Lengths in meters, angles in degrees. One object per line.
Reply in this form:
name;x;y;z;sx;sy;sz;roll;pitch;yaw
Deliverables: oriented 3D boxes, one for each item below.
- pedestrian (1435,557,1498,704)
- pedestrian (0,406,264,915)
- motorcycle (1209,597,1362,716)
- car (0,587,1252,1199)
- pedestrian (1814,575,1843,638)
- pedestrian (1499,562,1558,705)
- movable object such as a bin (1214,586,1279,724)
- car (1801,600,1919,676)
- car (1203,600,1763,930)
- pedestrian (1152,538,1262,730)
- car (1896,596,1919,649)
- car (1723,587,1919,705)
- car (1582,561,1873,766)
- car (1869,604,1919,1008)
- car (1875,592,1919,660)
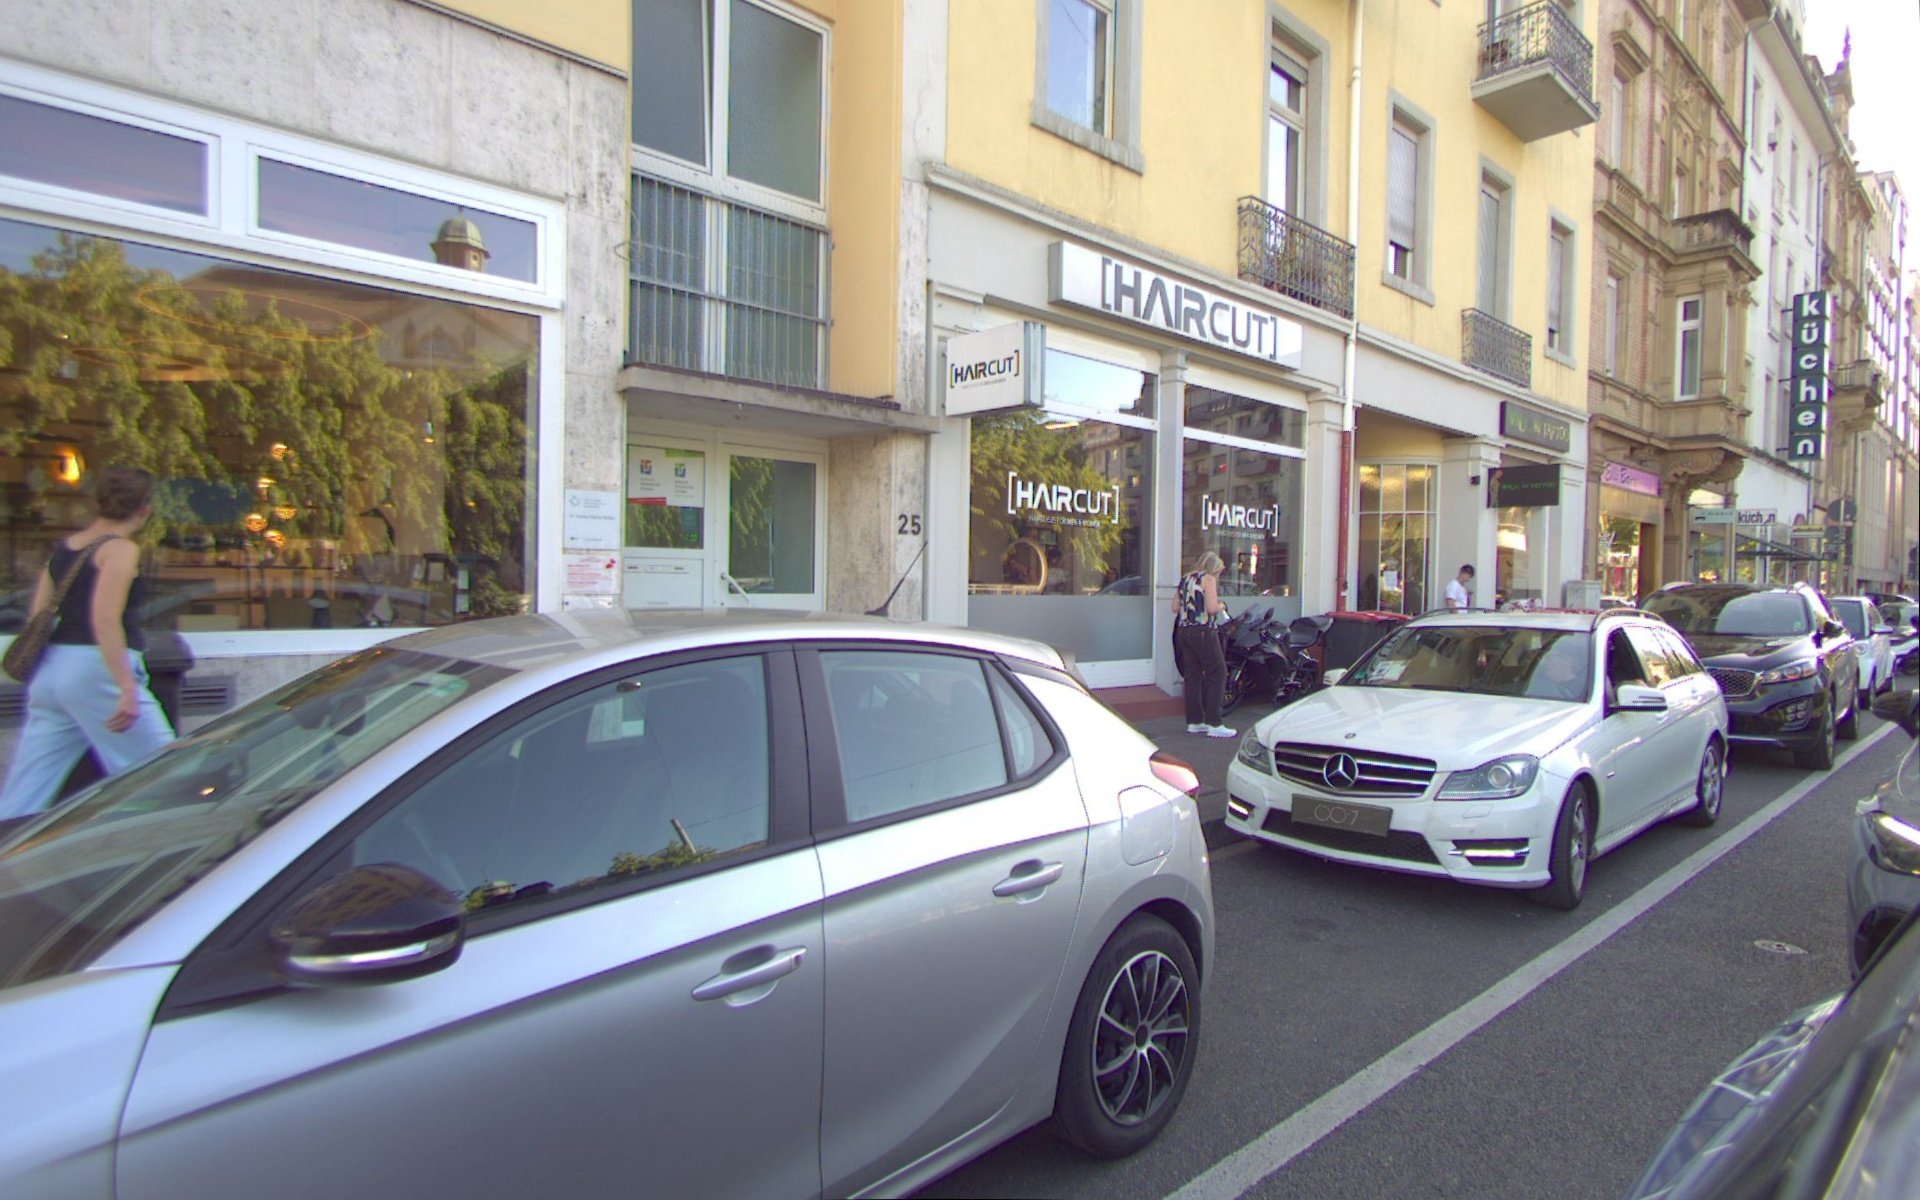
pedestrian;7.016;0.412;14.034;0.679;2.008;0.375;1;1;-18
pedestrian;-3.136;0.193;3.763;0.650;1.686;0.644;1;0;18
motorcycle;3.428;0.541;10.568;1.920;1.091;0.567;-1;4;-41
car;-1.000;0.696;2.285;3.597;1.445;1.549;-1;1;-42
pedestrian;26.249;0.176;30.582;0.653;1.874;0.574;0;0;-40
pedestrian;7.669;0.434;13.666;0.567;1.874;0.661;0;0;19
movable object such as a bin;2.706;0.506;9.557;0.387;1.253;0.391;0;3;-41
car;17.969;0.674;19.792;4.016;1.282;1.800;-1;1;-42
car;3.534;0.710;6.434;4.302;1.376;1.703;-1;1;-41
pedestrian;2.262;0.278;9.308;0.595;1.674;0.719;0;3;-40
car;26.579;0.577;27.170;3.773;1.357;1.800;-1;1;-42
car;13.120;0.580;15.322;4.016;1.546;1.800;-1;0;-42
car;7.959;0.491;10.341;4.176;1.659;1.799;-1;1;-45
car;5.288;0.705;4.215;3.931;1.376;1.800;-1;1;-41
car;22.196;0.551;23.046;4.016;1.450;1.657;-1;0;-42
